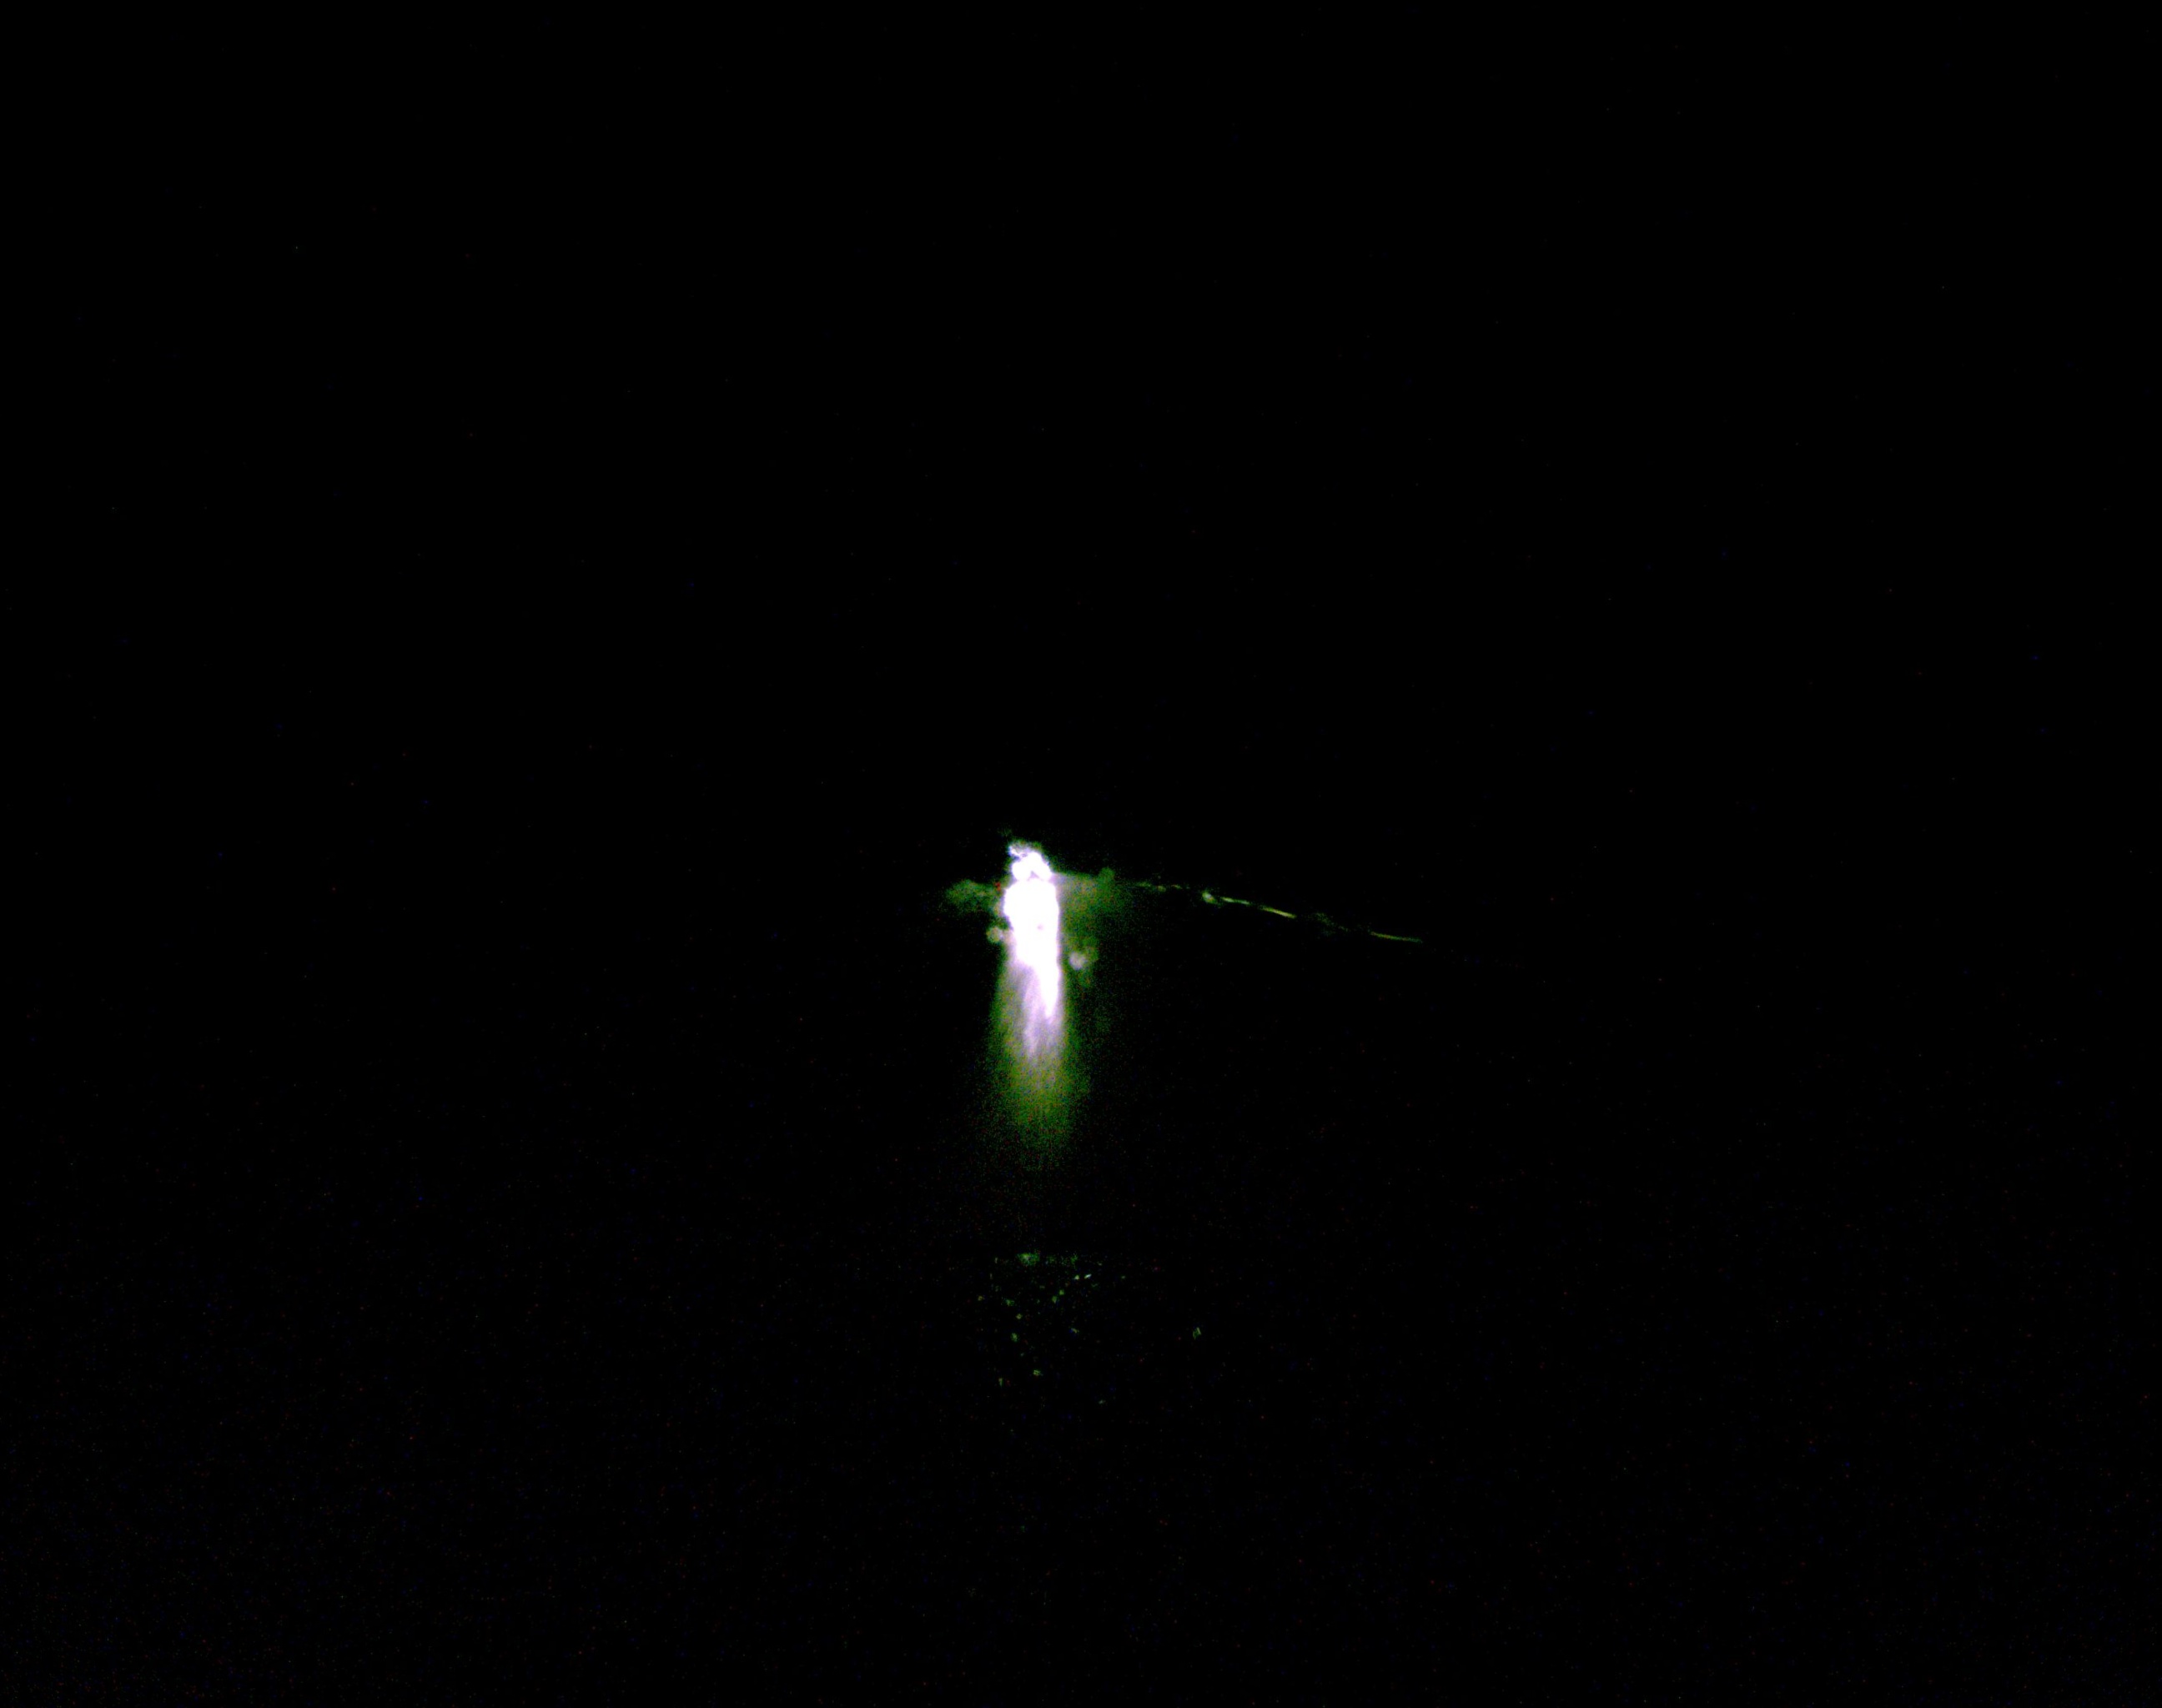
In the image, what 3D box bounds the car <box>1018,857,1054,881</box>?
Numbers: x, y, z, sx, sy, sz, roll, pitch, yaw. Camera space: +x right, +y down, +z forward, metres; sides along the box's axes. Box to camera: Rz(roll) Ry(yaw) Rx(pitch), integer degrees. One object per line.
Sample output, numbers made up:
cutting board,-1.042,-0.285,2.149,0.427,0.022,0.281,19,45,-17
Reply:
car,-3.018,0.976,50.229,2.000,1.412,3.996,-2,1,-9
